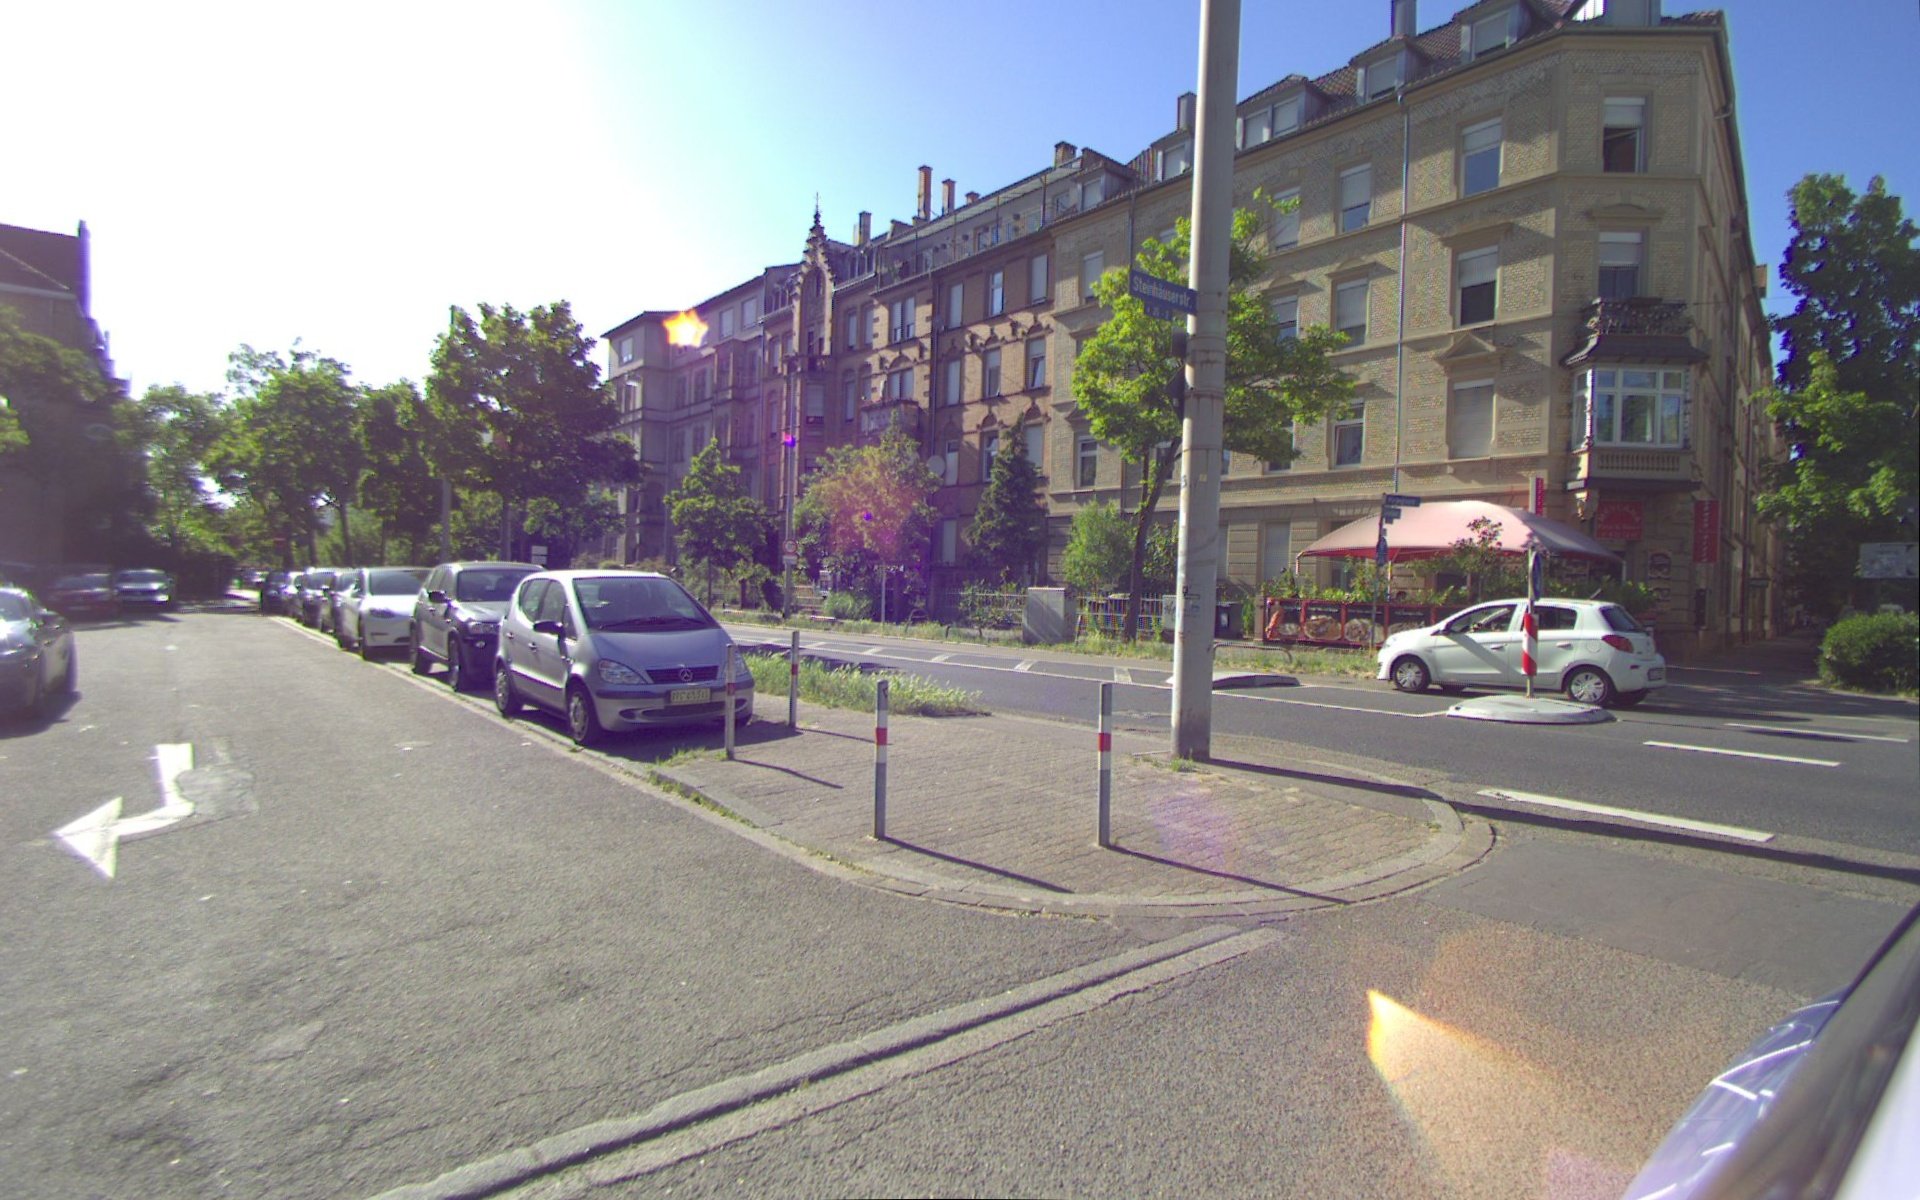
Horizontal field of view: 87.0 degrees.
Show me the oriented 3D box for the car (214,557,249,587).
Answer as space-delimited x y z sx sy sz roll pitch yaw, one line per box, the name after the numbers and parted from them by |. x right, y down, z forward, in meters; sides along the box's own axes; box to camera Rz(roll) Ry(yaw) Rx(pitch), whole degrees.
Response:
-52.719 -2.018 73.217 1.963 2.039 4.205 1 1 -36 | car

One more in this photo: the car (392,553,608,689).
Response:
-6.750 0.193 14.569 1.840 1.648 4.502 0 1 -38 | car

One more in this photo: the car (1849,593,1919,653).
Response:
34.500 0.870 37.709 1.990 2.055 4.237 2 -1 42 | car

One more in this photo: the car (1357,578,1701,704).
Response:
8.208 0.500 14.923 1.635 1.549 4.095 1 1 -39 | car

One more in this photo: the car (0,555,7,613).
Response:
-29.362 -0.494 28.274 3.932 1.650 1.684 1 1 -43 | car

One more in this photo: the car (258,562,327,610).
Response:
-24.670 -0.537 37.343 1.736 1.667 3.997 1 1 -39 | car

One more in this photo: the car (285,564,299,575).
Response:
-118.066 -5.441 178.942 1.731 1.806 3.998 1 1 -38 | car

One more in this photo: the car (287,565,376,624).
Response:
-18.323 -0.198 29.437 1.725 1.572 3.997 0 1 -39 | car

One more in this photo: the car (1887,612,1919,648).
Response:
42.128 1.363 44.580 1.687 1.491 3.941 2 0 40 | car

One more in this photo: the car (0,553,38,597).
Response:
-37.119 -0.964 37.799 3.932 1.650 1.684 1 1 -43 | car

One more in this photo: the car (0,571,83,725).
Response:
-10.878 0.399 10.851 1.862 1.415 4.528 0 1 -36 | car

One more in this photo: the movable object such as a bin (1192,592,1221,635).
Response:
6.846 0.371 28.125 0.560 1.147 0.551 1 0 -38 | movable object such as a bin

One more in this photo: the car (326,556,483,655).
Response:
-10.774 0.009 19.471 1.861 1.682 4.526 -1 2 -39 | car

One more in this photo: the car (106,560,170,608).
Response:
-30.242 -0.611 37.276 1.736 1.667 3.997 1 1 -39 | car

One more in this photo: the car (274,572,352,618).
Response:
-21.471 -0.202 33.524 1.728 1.415 3.997 1 1 -39 | car

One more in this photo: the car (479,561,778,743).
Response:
-3.536 0.384 10.447 1.695 1.537 3.526 0 2 -41 | car

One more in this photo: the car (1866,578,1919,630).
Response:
53.170 0.238 57.543 2.266 2.696 4.258 2 -2 40 | car

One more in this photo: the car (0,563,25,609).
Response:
-32.369 -0.485 32.095 3.932 1.488 1.605 1 1 -43 | car

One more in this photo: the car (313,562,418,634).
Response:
-14.674 -0.110 24.884 1.834 1.607 3.999 -1 2 -36 | car

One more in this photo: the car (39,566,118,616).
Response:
-27.693 -0.314 31.889 1.661 1.488 3.997 1 1 -39 | car
